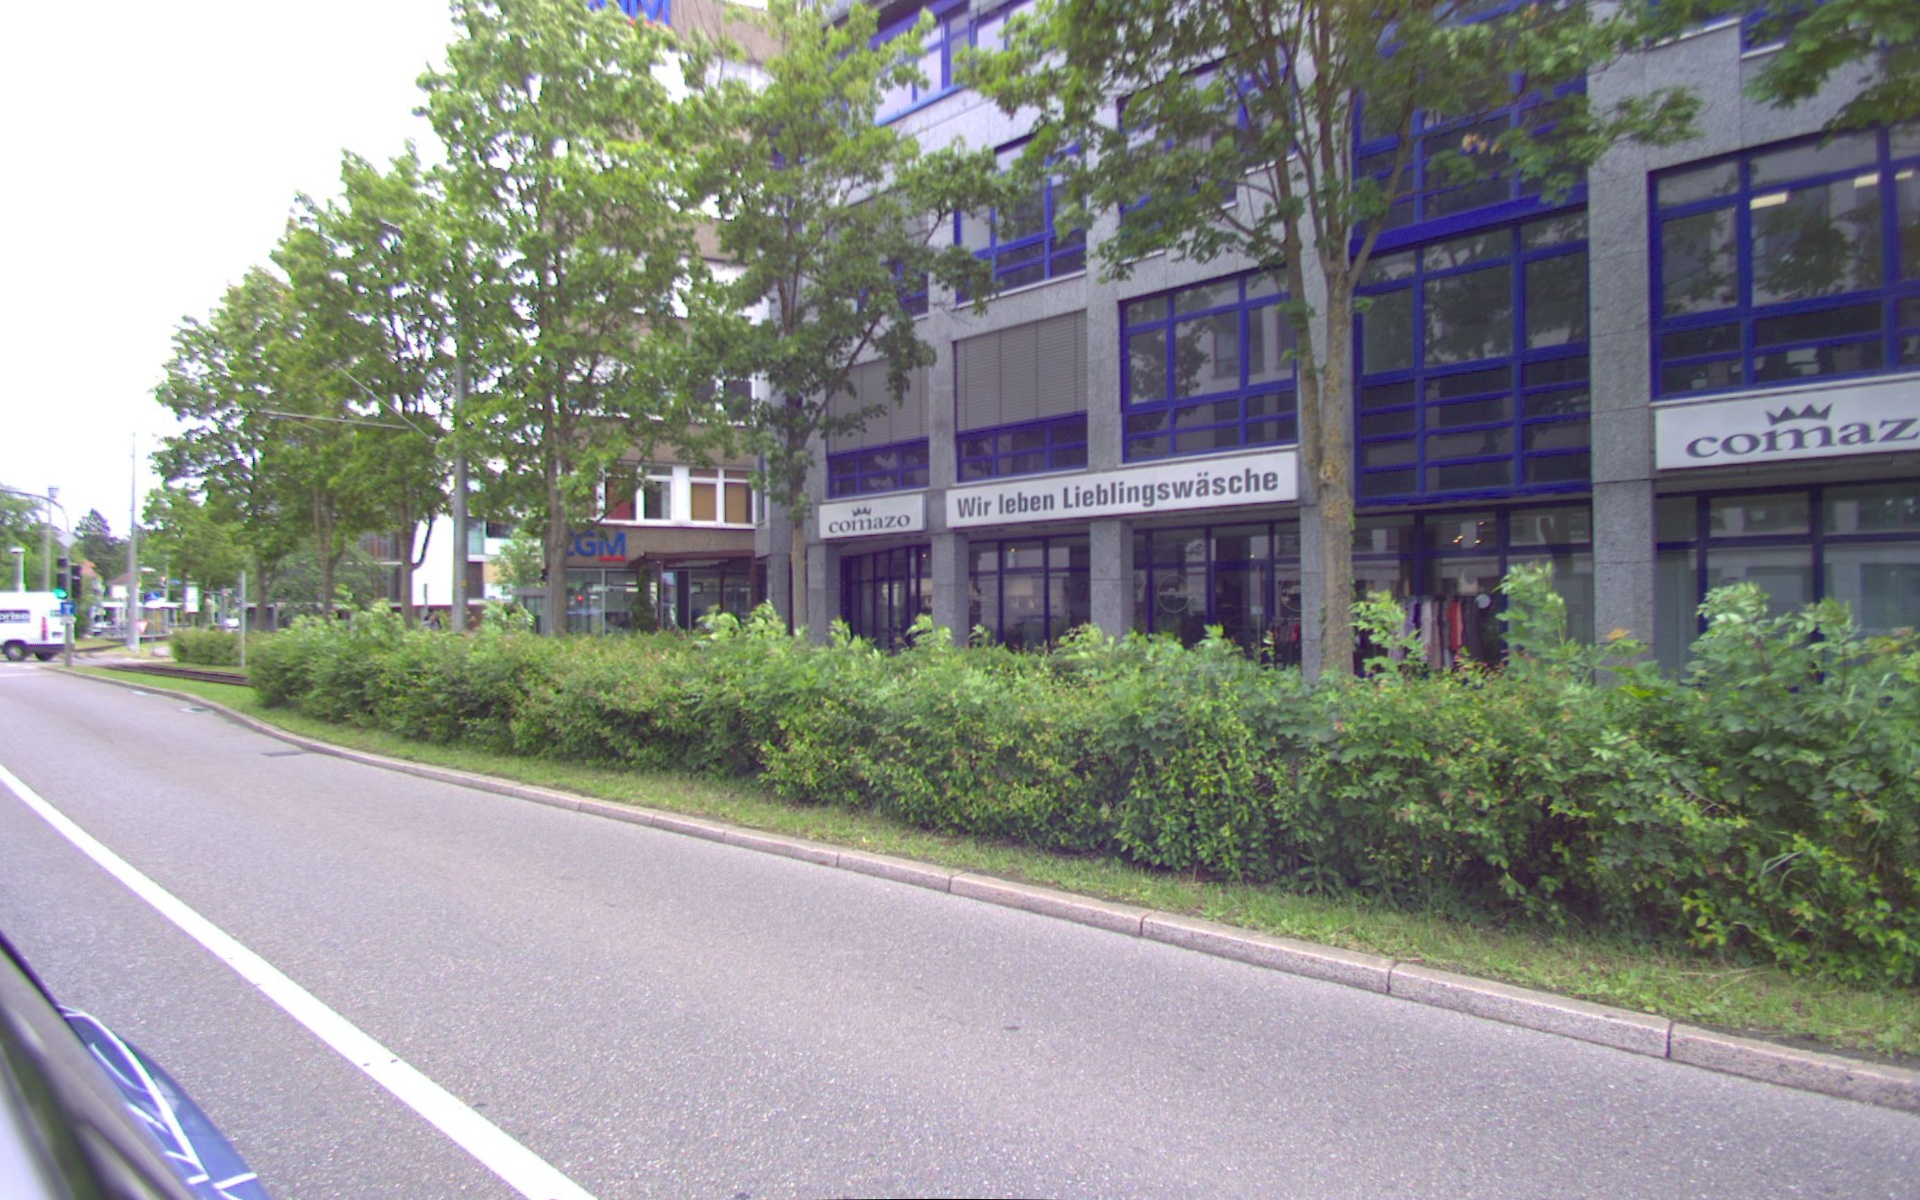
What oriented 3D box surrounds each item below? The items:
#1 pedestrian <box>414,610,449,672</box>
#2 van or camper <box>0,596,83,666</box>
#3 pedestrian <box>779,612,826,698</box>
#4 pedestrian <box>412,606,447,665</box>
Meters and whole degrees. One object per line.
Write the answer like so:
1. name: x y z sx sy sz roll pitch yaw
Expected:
1. pedestrian: -15.845 1.203 30.355 0.730 1.819 0.672 -1 0 37
2. van or camper: -39.441 1.231 40.685 6.049 2.754 2.120 0 0 -13
3. pedestrian: -3.569 1.220 22.973 0.731 1.908 0.766 -1 0 40
4. pedestrian: -17.563 1.162 33.503 0.731 1.938 0.805 -1 0 40
